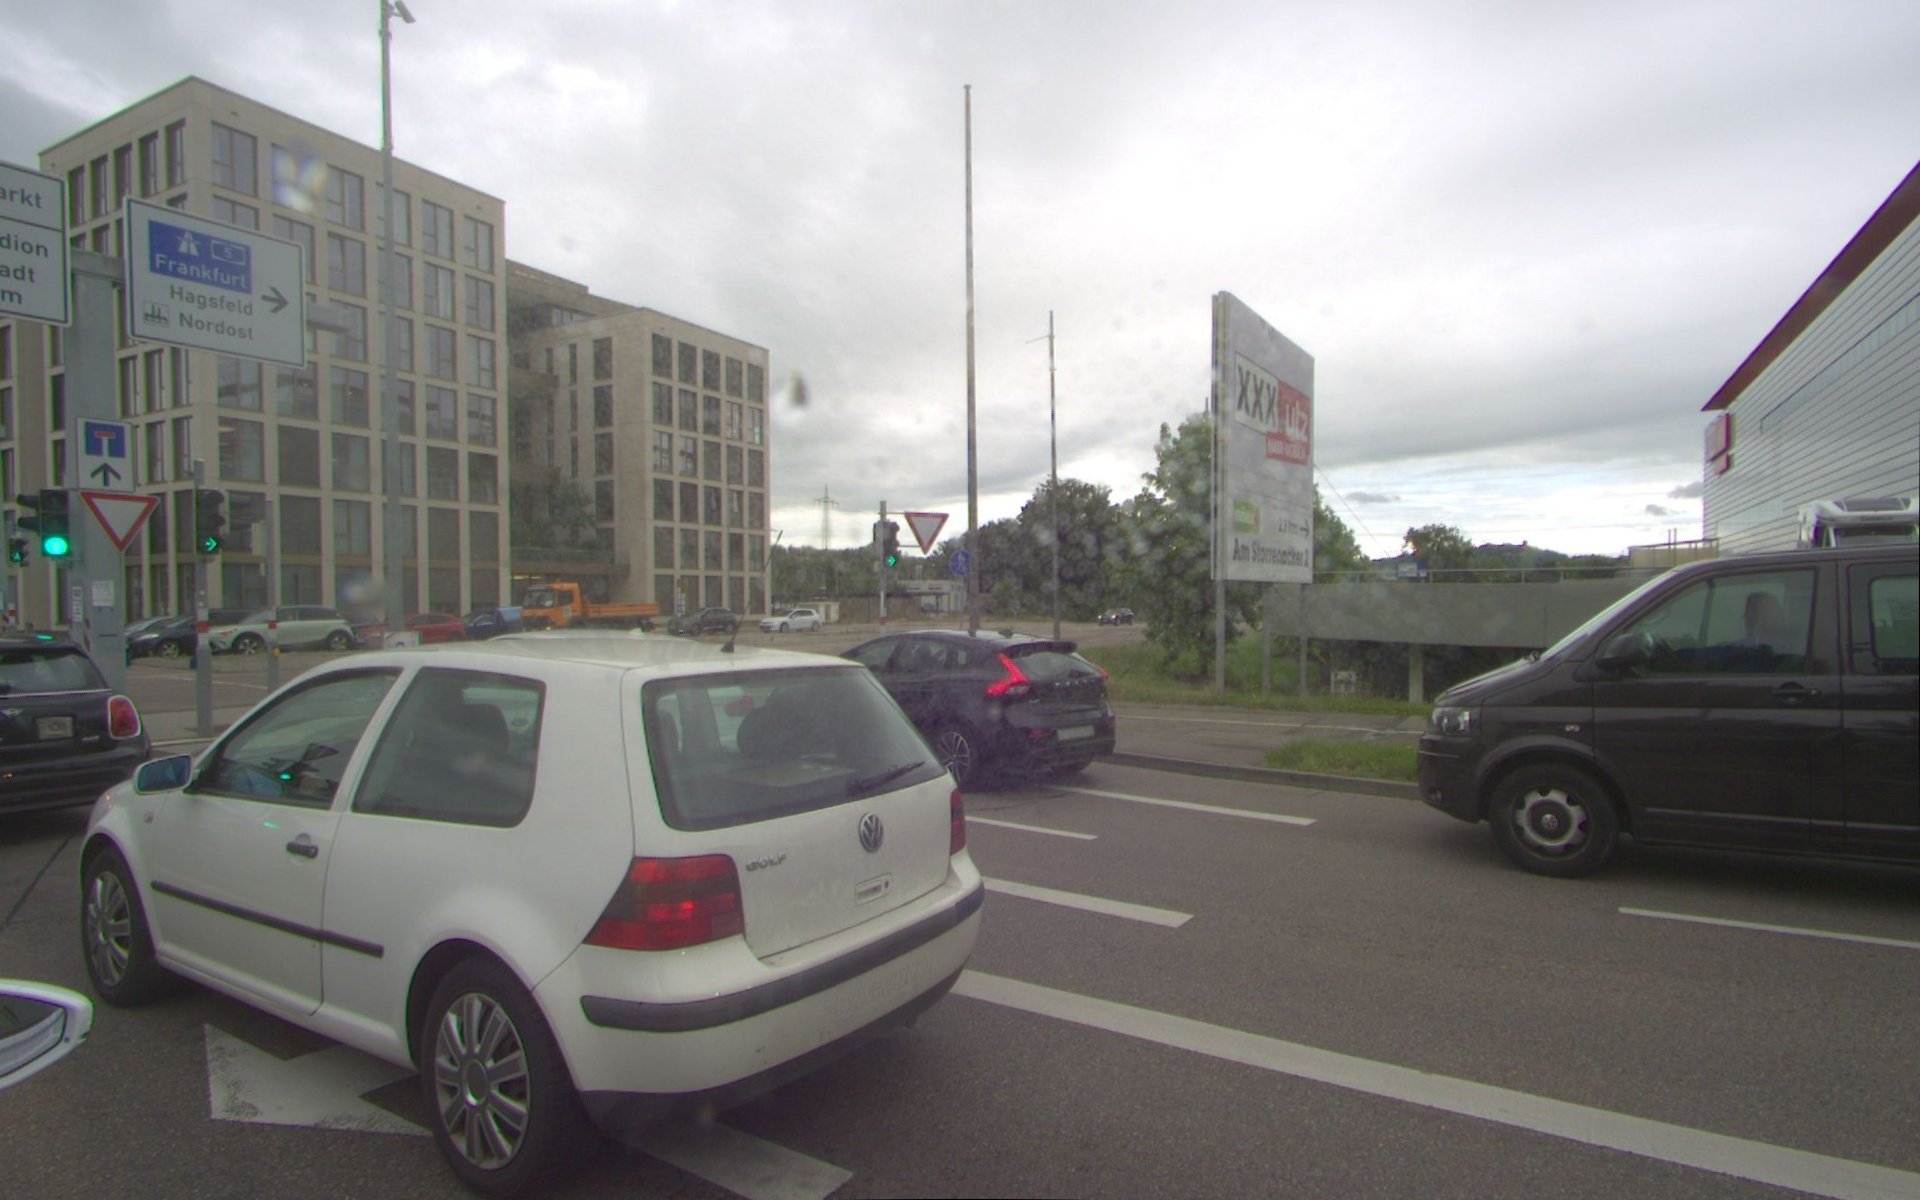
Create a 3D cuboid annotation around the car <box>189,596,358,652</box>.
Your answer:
[{"bbox_3d":[-21.832,0.784,32.008,1.875,1.664,4.055,-1,-2,27],"label":"car"}]

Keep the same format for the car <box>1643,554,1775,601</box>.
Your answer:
[{"bbox_3d":[30.963,-0.891,41.556,4.199,1.697,1.768,-1,-2,32],"label":"car"}]

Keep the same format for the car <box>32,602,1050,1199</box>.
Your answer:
[{"bbox_3d":[-1.812,0.823,3.996,3.948,1.496,1.829,-1,-2,32],"label":"car"}]

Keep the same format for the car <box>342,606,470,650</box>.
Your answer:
[{"bbox_3d":[-21.620,1.132,39.238,1.970,1.622,3.984,-1,-2,29],"label":"car"}]

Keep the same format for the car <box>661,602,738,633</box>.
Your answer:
[{"bbox_3d":[-15.015,1.049,57.854,1.972,1.678,4.098,-1,-2,33],"label":"car"}]

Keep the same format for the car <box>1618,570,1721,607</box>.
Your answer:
[{"bbox_3d":[36.382,-0.544,51.490,4.199,1.697,1.768,-1,-2,32],"label":"car"}]

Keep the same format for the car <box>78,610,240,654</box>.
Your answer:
[{"bbox_3d":[-27.741,1.125,34.819,1.724,1.450,4.083,-1,-2,28],"label":"car"}]

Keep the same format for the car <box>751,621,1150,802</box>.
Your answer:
[{"bbox_3d":[-0.283,0.983,10.319,1.885,1.467,4.144,1,-2,-41],"label":"car"}]

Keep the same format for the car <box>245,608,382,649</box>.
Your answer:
[{"bbox_3d":[-25.239,1.119,39.228,1.843,1.509,4.134,-1,-2,28],"label":"car"}]

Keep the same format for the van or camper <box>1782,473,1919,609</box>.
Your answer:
[{"bbox_3d":[25.396,-1.446,28.040,2.676,3.175,7.201,-1,-2,32],"label":"van or camper"}]

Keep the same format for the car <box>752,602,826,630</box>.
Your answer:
[{"bbox_3d":[-10.747,1.036,63.096,1.977,1.678,4.326,-2,-2,41],"label":"car"}]

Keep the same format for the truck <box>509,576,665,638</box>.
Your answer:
[{"bbox_3d":[-17.317,0.439,46.974,2.779,2.672,6.647,-1,-2,30],"label":"truck"}]

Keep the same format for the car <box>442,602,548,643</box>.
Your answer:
[{"bbox_3d":[-21.485,1.060,46.426,1.969,1.791,4.134,-1,-2,28],"label":"car"}]

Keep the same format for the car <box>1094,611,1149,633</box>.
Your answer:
[{"bbox_3d":[13.550,1.839,83.759,4.364,1.791,1.988,1,-2,-33],"label":"car"}]

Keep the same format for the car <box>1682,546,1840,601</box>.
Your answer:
[{"bbox_3d":[28.414,-0.896,35.710,4.199,1.697,1.768,-1,-2,32],"label":"car"}]

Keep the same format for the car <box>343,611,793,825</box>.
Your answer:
[{"bbox_3d":[-3.531,0.863,8.701,4.146,1.428,1.822,-2,-2,38],"label":"car"}]

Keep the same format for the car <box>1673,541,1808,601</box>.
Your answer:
[{"bbox_3d":[30.139,-1.065,38.840,3.945,2.039,1.989,-1,-2,34],"label":"car"}]

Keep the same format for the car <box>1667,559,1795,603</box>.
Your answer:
[{"bbox_3d":[33.371,-0.793,43.509,4.199,1.697,1.768,-1,-2,32],"label":"car"}]

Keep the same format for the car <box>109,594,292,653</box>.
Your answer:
[{"bbox_3d":[-24.987,0.812,33.119,1.969,1.791,4.405,-1,-2,28],"label":"car"}]

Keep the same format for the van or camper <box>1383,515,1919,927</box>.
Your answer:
[{"bbox_3d":[5.330,0.631,5.896,4.880,2.039,2.150,-2,-2,37],"label":"van or camper"}]

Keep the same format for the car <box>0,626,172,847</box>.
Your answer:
[{"bbox_3d":[-7.733,0.933,7.530,3.592,1.433,1.782,-2,-2,33],"label":"car"}]
